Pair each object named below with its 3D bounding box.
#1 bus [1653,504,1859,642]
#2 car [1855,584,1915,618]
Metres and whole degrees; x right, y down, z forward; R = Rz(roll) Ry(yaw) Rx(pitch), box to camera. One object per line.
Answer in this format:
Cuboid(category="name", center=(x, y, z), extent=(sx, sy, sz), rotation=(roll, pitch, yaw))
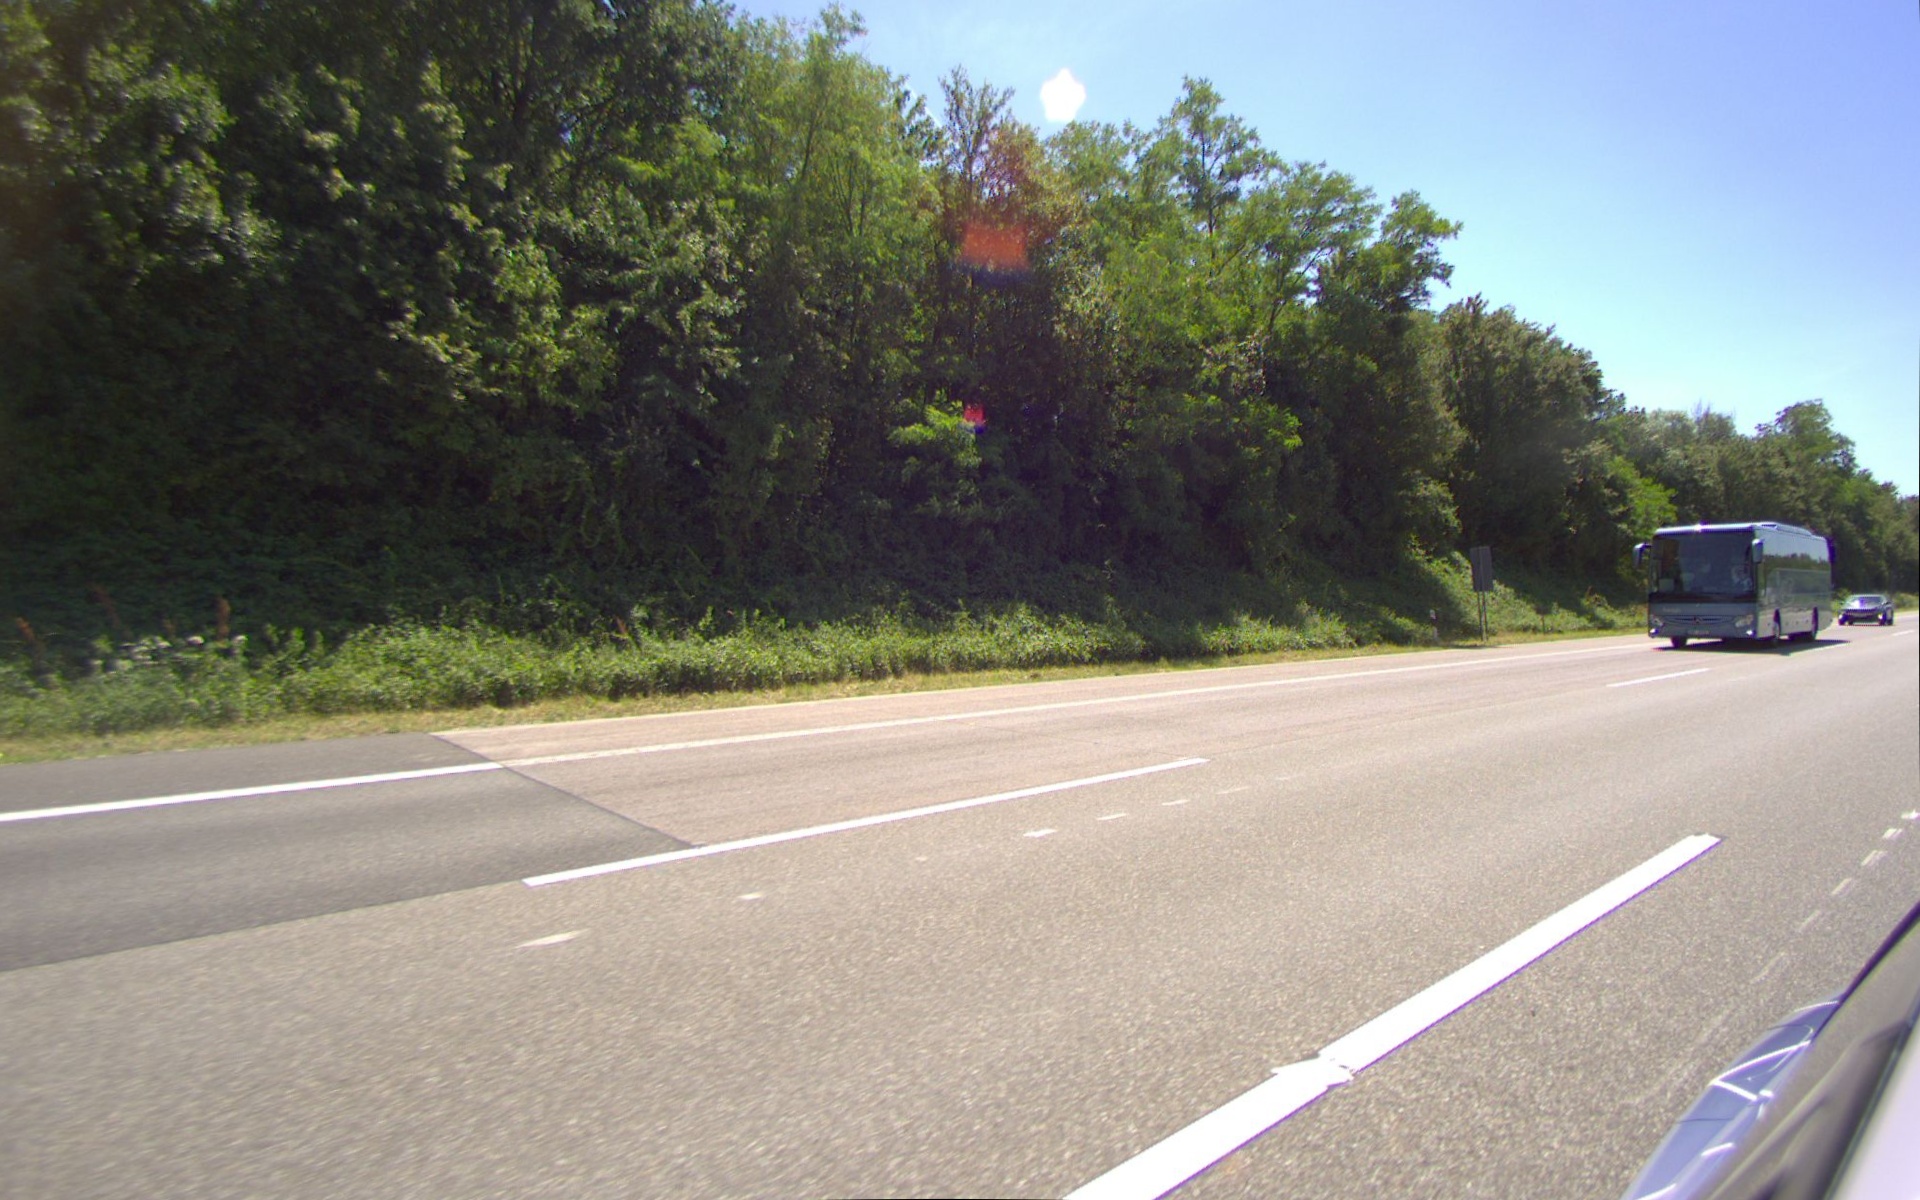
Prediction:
Cuboid(category="bus", center=(25.328, -0.813, 31.757), extent=(13.445, 3.597, 2.614), rotation=(-1, 0, -41))
Cuboid(category="car", center=(46.341, 0.026, 50.682), extent=(3.930, 1.636, 1.812), rotation=(-1, 1, -41))
